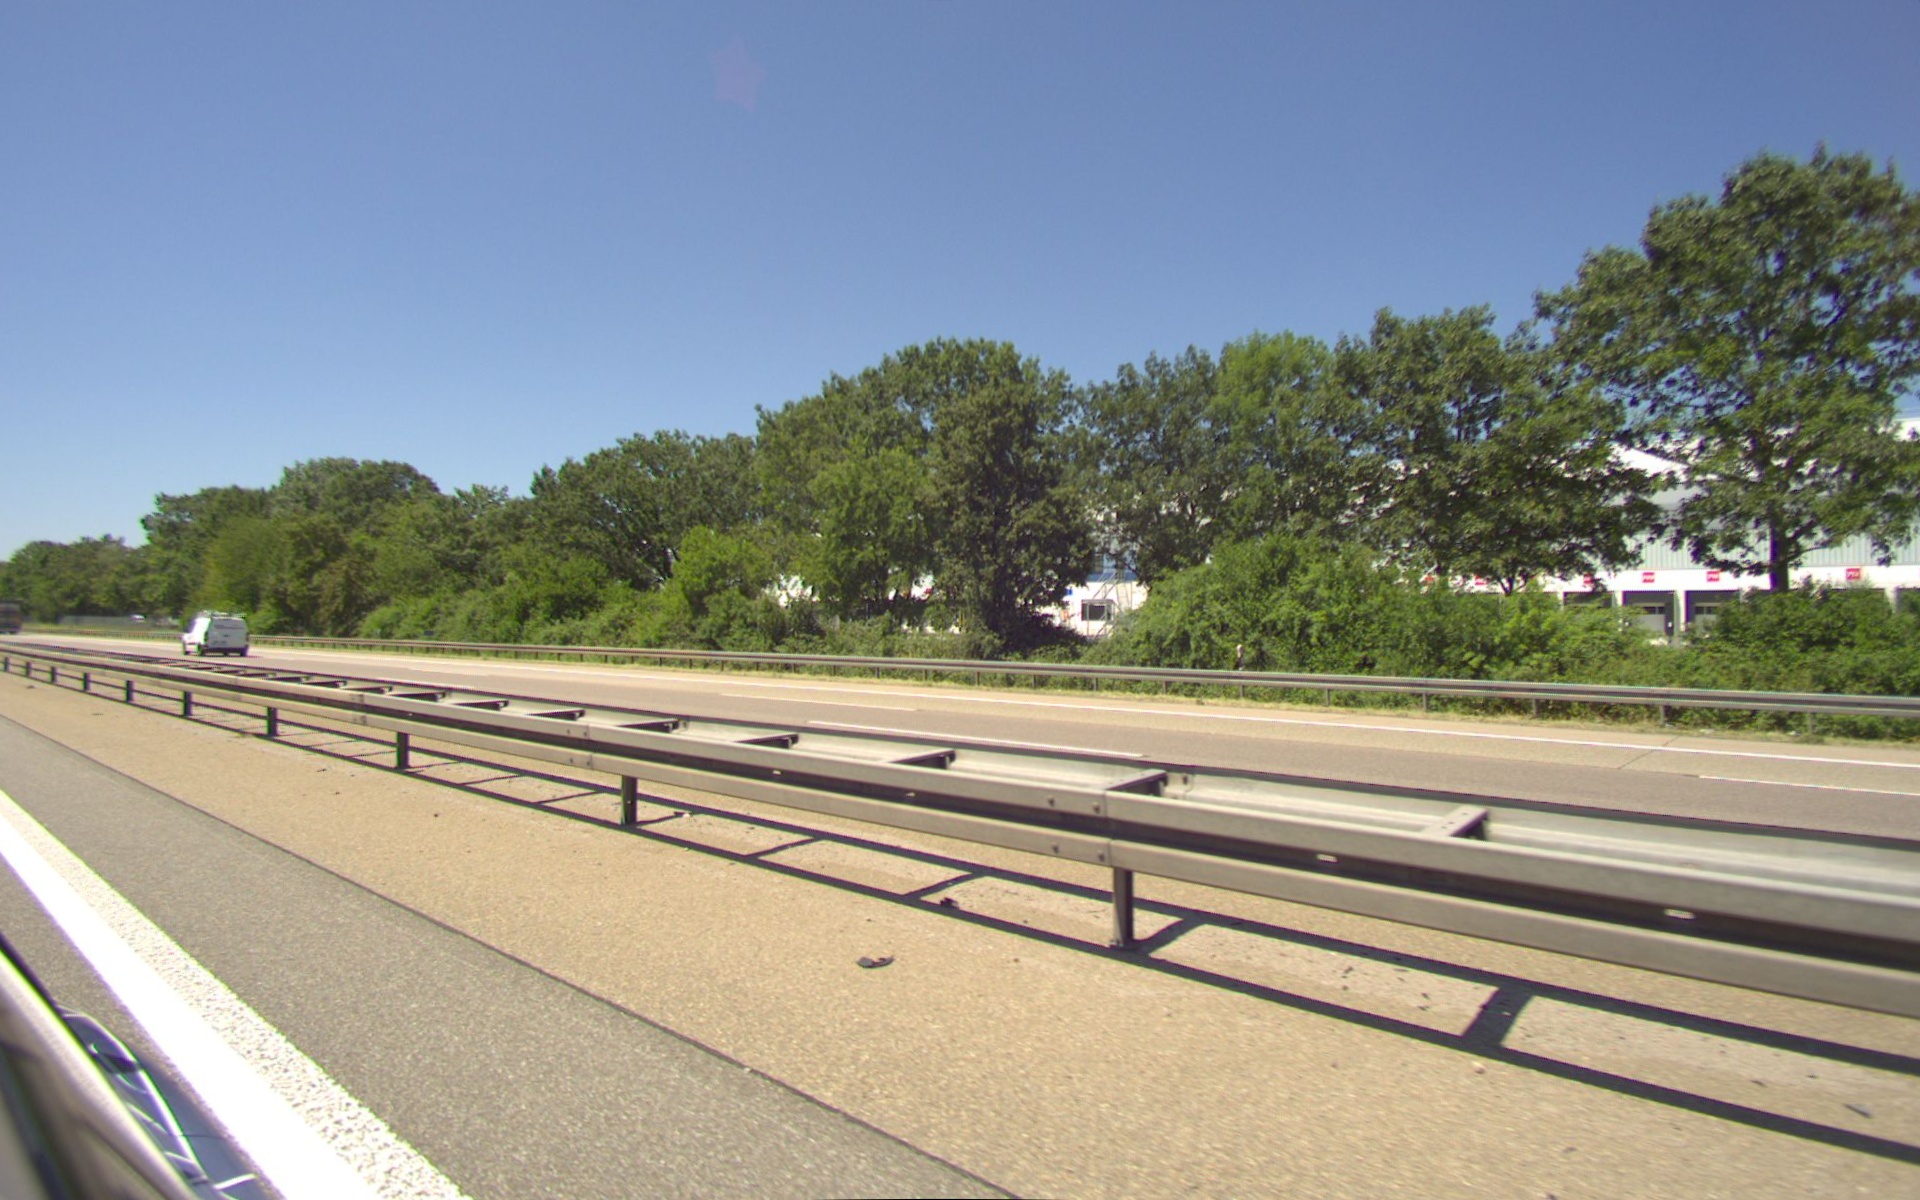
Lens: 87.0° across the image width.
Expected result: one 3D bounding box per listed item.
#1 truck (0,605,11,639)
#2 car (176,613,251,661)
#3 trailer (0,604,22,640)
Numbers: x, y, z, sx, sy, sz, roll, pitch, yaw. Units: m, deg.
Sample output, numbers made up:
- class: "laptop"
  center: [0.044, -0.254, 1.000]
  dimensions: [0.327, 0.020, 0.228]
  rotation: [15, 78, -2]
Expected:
- class: "truck"
  center: [-118.680, 2.645, 123.936]
  dimensions: [6.330, 4.075, 2.847]
  rotation: [-1, -4, 42]
- class: "car"
  center: [-33.772, 1.646, 45.735]
  dimensions: [4.378, 2.029, 1.769]
  rotation: [-1, -4, 42]
- class: "trailer"
  center: [-113.555, 2.558, 119.377]
  dimensions: [13.675, 4.075, 2.846]
  rotation: [-1, -4, 42]
